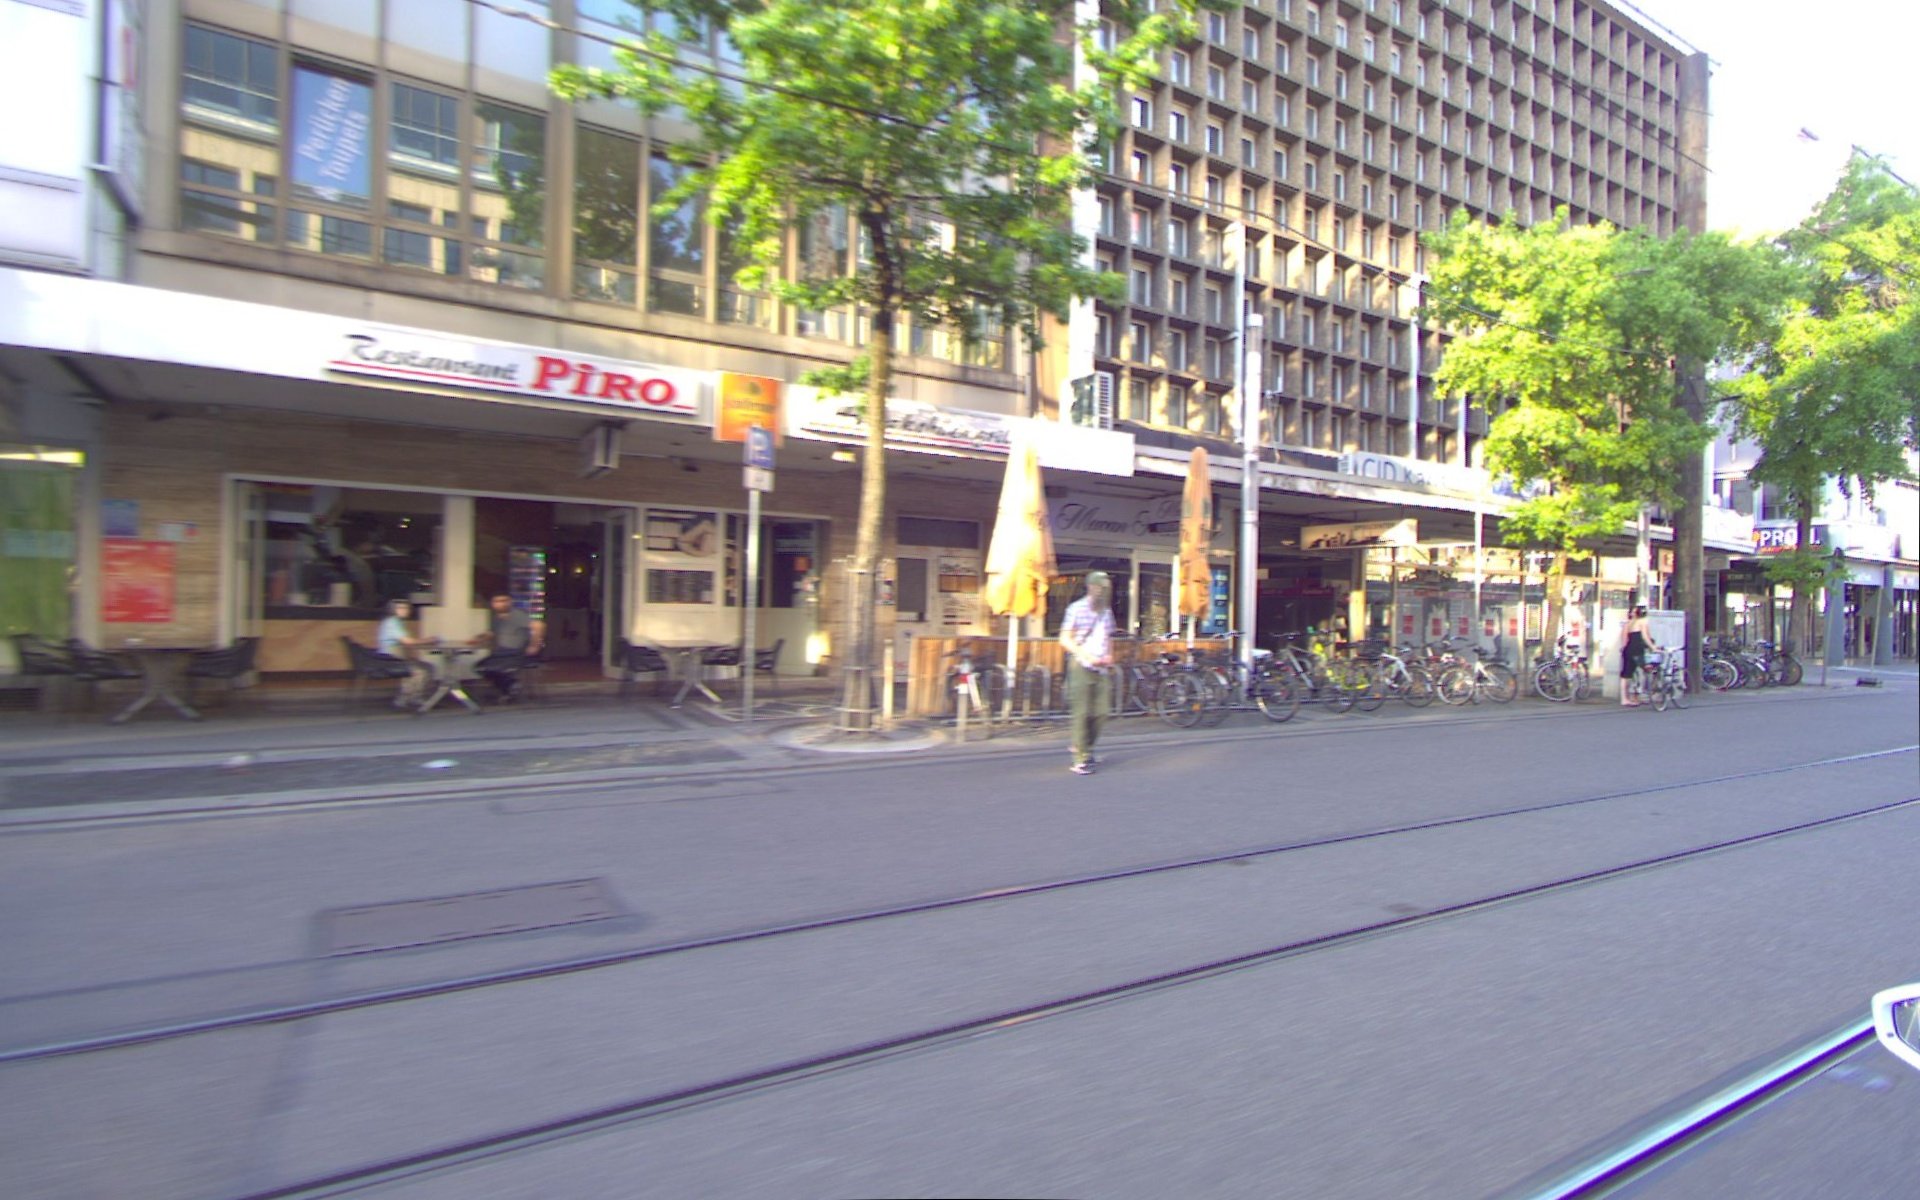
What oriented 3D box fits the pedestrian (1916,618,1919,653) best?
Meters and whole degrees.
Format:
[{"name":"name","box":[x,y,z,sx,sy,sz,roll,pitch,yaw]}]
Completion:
[{"name":"pedestrian","box":[47.725,1.759,49.495,0.702,1.748,0.709,2,-1,-33]}]

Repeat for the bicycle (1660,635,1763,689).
[{"name":"bicycle","box":[16.810,1.357,22.514,0.484,1.059,1.763,0,1,-30]}]

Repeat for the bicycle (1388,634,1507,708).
[{"name":"bicycle","box":[8.206,1.167,16.985,0.485,1.085,1.759,0,2,-36]}]

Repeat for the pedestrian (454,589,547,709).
[{"name":"pedestrian","box":[-5.502,0.570,12.021,0.902,1.343,0.666,2,2,-33]}]

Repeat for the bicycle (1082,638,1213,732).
[{"name":"bicycle","box":[2.333,1.032,12.680,0.485,1.003,1.759,0,2,-36]}]

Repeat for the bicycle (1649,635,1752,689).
[{"name":"bicycle","box":[16.336,1.343,22.192,0.484,1.059,1.763,0,1,-30]}]

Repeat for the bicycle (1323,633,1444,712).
[{"name":"bicycle","box":[6.735,1.122,16.044,0.485,1.085,1.759,0,2,-36]}]

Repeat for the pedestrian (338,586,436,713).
[{"name":"pedestrian","box":[-6.447,0.544,11.297,0.902,1.343,0.666,2,2,-33]}]

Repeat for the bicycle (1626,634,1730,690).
[{"name":"bicycle","box":[15.441,1.315,21.642,0.484,1.059,1.763,0,1,-30]}]

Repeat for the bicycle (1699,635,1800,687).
[{"name":"bicycle","box":[18.412,1.406,23.463,0.484,1.059,1.763,0,1,-30]}]

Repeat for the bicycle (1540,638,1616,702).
[{"name":"bicycle","box":[11.041,1.222,17.931,1.759,1.059,0.485,1,1,-35]}]

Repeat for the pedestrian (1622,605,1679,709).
[{"name":"pedestrian","box":[11.719,0.949,17.056,0.525,1.722,0.603,1,1,-2]}]

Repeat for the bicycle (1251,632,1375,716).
[{"name":"bicycle","box":[5.244,1.076,15.035,0.485,1.085,1.759,0,2,-36]}]

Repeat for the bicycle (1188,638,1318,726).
[{"name":"bicycle","box":[3.961,1.082,13.695,0.485,1.003,1.759,0,2,-36]}]

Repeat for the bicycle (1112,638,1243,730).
[{"name":"bicycle","box":[2.772,1.045,12.963,0.485,1.003,1.759,0,2,-36]}]

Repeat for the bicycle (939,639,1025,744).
[{"name":"bicycle","box":[0.214,0.993,11.342,0.481,0.979,1.772,2,1,-14]}]

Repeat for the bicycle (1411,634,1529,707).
[{"name":"bicycle","box":[8.758,1.180,17.318,0.485,1.085,1.759,0,2,-36]}]

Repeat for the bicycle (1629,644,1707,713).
[{"name":"bicycle","box":[11.888,1.288,16.853,1.759,1.059,0.485,1,1,-35]}]

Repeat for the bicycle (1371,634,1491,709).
[{"name":"bicycle","box":[7.776,1.154,16.653,0.485,1.085,1.759,0,2,-36]}]

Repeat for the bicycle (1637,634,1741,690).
[{"name":"bicycle","box":[15.855,1.328,21.895,0.484,1.059,1.763,0,1,-30]}]

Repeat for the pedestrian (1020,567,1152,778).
[{"name":"pedestrian","box":[1.129,0.620,9.202,0.809,1.817,0.987,2,2,-16]}]

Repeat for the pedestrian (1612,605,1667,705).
[{"name":"pedestrian","box":[11.947,0.959,17.679,0.525,1.722,0.603,1,1,-2]}]

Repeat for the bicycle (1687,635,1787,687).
[{"name":"bicycle","box":[17.906,1.391,23.191,0.484,1.059,1.763,0,1,-30]}]

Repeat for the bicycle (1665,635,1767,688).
[{"name":"bicycle","box":[17.015,1.364,22.638,0.484,1.059,1.763,0,1,-30]}]

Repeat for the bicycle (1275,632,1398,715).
[{"name":"bicycle","box":[5.719,1.091,15.353,0.485,1.085,1.759,0,2,-36]}]
